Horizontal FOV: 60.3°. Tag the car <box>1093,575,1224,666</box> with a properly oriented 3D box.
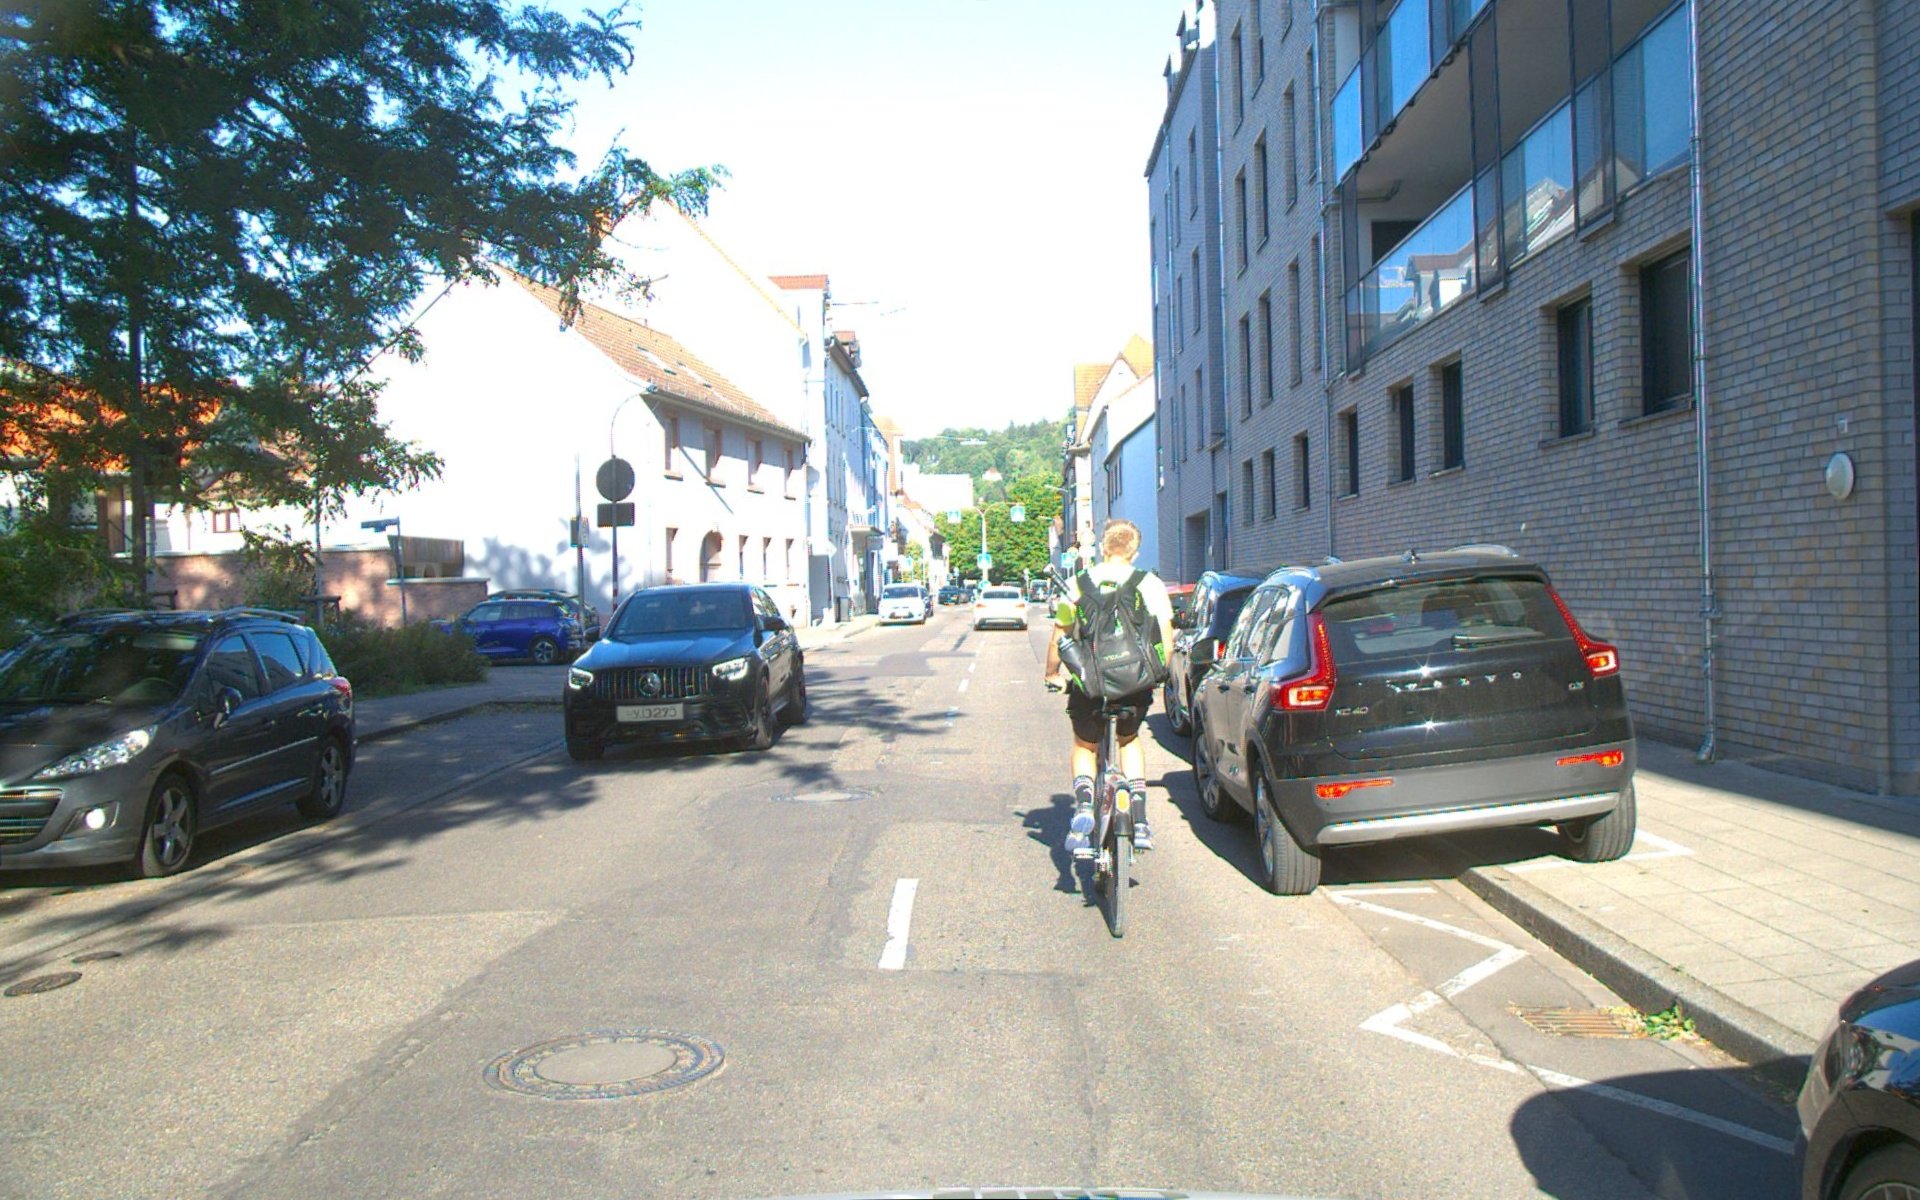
[{"bbox_3d":[3.664,0.330,31.263,1.953,1.532,4.367,-2,1,0],"label":"car"}]

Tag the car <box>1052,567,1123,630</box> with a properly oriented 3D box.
[{"bbox_3d":[3.742,-0.087,49.285,1.816,1.664,4.624,-4,1,2],"label":"car"}]

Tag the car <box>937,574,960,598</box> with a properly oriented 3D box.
[{"bbox_3d":[-0.982,-1.212,143.086,1.953,2.049,4.000,-1,1,0],"label":"car"}]

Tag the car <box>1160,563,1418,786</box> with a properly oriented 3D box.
[{"bbox_3d":[2.933,0.552,15.683,1.850,1.742,4.777,-2,1,5],"label":"car"}]

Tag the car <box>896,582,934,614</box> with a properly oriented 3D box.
[{"bbox_3d":[-2.239,-0.097,83.240,1.695,1.525,3.959,-2,0,0],"label":"car"}]

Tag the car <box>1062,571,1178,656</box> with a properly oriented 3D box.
[{"bbox_3d":[3.432,0.240,36.375,1.953,1.681,4.762,-2,1,-1],"label":"car"}]

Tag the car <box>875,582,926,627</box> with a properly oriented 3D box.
[{"bbox_3d":[-2.374,0.157,66.695,1.953,1.676,5.220,-1,1,-1],"label":"car"}]

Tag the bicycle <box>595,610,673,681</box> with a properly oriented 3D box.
[{"bbox_3d":[-5.015,0.688,25.556,0.689,1.020,1.942,-1,0,4],"label":"bicycle"}]

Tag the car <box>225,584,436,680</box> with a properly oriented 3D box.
[{"bbox_3d":[-14.454,0.716,38.164,3.907,1.525,2.001,-8,3,2],"label":"car"}]

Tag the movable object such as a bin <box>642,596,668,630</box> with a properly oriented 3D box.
[{"bbox_3d":[-8.198,0.337,44.442,0.586,0.887,0.606,-1,0,-1],"label":"movable object such as a bin"}]

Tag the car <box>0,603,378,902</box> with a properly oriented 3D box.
[{"bbox_3d":[-5.318,0.825,10.750,1.662,1.518,4.000,-1,1,-1],"label":"car"}]

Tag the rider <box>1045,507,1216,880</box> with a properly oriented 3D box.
[{"bbox_3d":[0.763,0.408,7.660,0.640,1.589,1.083,1,-1,-1],"label":"rider"}]

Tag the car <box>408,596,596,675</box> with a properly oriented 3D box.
[{"bbox_3d":[-10.523,0.800,38.194,3.689,1.556,2.001,-3,1,2],"label":"car"}]

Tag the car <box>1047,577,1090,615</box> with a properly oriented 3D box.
[{"bbox_3d":[4.737,-0.197,72.665,1.705,1.518,4.440,-3,0,2],"label":"car"}]

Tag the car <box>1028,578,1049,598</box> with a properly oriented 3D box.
[{"bbox_3d":[7.070,-1.097,148.778,1.780,1.659,4.003,-3,1,4],"label":"car"}]

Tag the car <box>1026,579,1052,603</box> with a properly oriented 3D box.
[{"bbox_3d":[6.544,-0.748,137.424,1.969,1.885,4.001,-1,1,0],"label":"car"}]

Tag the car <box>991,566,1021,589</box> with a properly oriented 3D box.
[{"bbox_3d":[3.281,-1.595,118.485,1.953,1.492,3.999,-2,0,-1],"label":"car"}]

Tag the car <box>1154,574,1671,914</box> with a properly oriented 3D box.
[{"bbox_3d":[2.324,0.643,9.699,1.779,1.492,4.269,-2,0,-1],"label":"car"}]

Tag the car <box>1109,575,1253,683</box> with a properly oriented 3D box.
[{"bbox_3d":[3.434,0.401,26.343,1.678,1.428,4.074,-5,1,1],"label":"car"}]

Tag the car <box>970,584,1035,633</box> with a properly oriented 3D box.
[{"bbox_3d":[1.355,0.250,54.485,1.953,1.492,3.999,-2,0,-1],"label":"car"}]

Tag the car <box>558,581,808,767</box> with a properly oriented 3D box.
[{"bbox_3d":[-2.682,0.647,17.007,1.900,1.603,4.318,-2,0,-1],"label":"car"}]

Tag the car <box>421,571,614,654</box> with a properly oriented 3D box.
[{"bbox_3d":[-11.166,0.294,41.908,4.272,1.825,1.989,2,3,2],"label":"car"}]

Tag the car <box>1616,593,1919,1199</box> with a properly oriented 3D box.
[{"bbox_3d":[2.429,0.733,1.329,1.663,1.493,4.717,-3,0,-3],"label":"car"}]

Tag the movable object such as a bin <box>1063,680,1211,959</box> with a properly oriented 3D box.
[{"bbox_3d":[0.774,0.931,7.600,0.445,1.051,1.840,1,-1,-1],"label":"movable object such as a bin"}]
